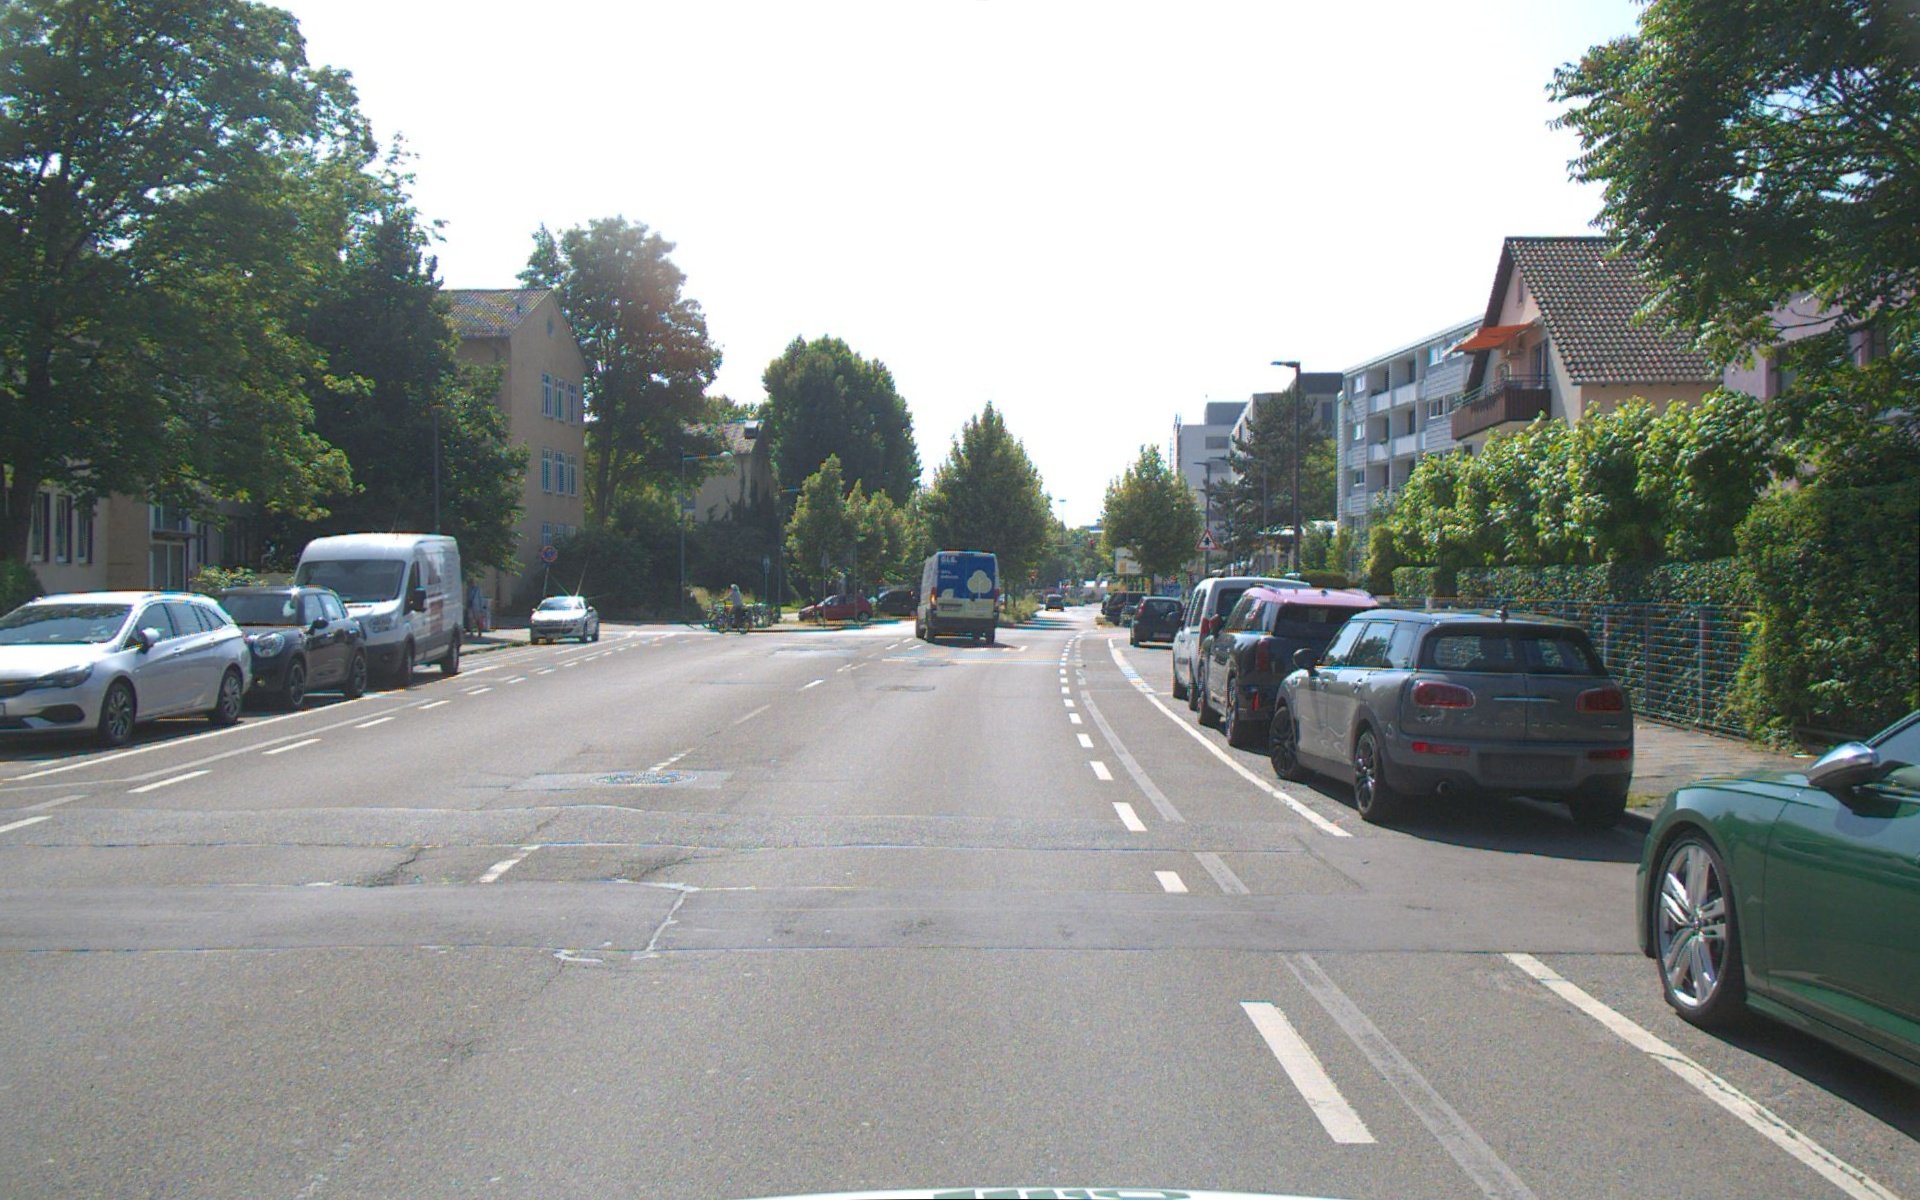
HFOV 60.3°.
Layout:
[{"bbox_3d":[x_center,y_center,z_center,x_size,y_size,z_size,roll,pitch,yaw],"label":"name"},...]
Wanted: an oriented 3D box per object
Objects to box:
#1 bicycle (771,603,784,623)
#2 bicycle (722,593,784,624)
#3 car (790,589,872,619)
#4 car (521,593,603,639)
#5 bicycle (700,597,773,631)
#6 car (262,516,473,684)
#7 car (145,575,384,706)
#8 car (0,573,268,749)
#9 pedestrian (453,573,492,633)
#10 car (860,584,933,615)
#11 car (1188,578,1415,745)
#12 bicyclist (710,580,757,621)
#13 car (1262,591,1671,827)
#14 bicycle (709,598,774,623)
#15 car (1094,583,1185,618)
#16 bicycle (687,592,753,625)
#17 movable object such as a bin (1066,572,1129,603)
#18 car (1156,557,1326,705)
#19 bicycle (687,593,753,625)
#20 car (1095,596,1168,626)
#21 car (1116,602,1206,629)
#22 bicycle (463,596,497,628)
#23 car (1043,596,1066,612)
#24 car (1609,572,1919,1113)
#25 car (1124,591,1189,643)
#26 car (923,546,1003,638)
[{"bbox_3d":[-8.619,0.613,78.149,0.510,0.919,1.270,-1,-1,0],"label":"bicycle"},{"bbox_3d":[-8.725,0.371,69.672,2.491,1.278,0.740,1,0,2],"label":"bicycle"},{"bbox_3d":[-6.694,0.188,85.720,3.923,1.492,1.991,-1,1,-17],"label":"car"},{"bbox_3d":[-11.939,0.454,49.844,1.686,1.289,3.998,-1,1,-3],"label":"car"},{"bbox_3d":[-7.817,0.480,57.920,2.498,1.132,0.958,0,1,32],"label":"bicycle"},{"bbox_3d":[-9.899,-0.031,28.172,2.049,2.540,5.944,-1,1,-7],"label":"car"},{"bbox_3d":[-9.217,0.474,22.270,1.686,1.586,3.998,-1,1,-3],"label":"car"},{"bbox_3d":[-8.948,0.533,17.279,1.686,1.586,4.669,-1,1,-3],"label":"car"},{"bbox_3d":[-15.004,0.095,50.948,0.953,1.811,0.725,1,0,1],"label":"pedestrian"},{"bbox_3d":[-3.924,-0.046,102.403,4.137,1.848,1.981,0,1,-34],"label":"car"},{"bbox_3d":[3.632,0.576,18.313,1.725,1.621,4.314,0,1,2],"label":"car"},{"bbox_3d":[-7.936,0.024,57.998,1.326,1.428,0.958,0,0,31],"label":"bicyclist"},{"bbox_3d":[3.618,0.682,12.609,1.727,1.469,4.067,-1,1,-2],"label":"car"},{"bbox_3d":[-8.914,0.427,67.518,2.491,1.005,0.740,-1,0,2],"label":"bicycle"},{"bbox_3d":[8.865,0.042,81.558,4.061,1.668,2.025,1,0,-29],"label":"car"},{"bbox_3d":[-9.459,0.344,65.212,2.491,1.278,0.740,-1,0,2],"label":"bicycle"},{"bbox_3d":[21.171,-1.909,254.814,9.470,4.629,3.166,1,0,6],"label":"movable object such as a bin"},{"bbox_3d":[3.943,0.426,23.908,1.726,1.858,4.599,3,-1,2],"label":"car"},{"bbox_3d":[-9.599,0.348,66.268,2.491,1.261,0.740,-1,0,2],"label":"bicycle"},{"bbox_3d":[9.932,0.619,95.768,3.912,1.668,1.750,1,0,-8],"label":"car"},{"bbox_3d":[9.560,0.725,78.732,3.930,1.258,1.742,1,0,-22],"label":"car"},{"bbox_3d":[-16.731,0.413,57.625,0.375,1.100,1.688,0,1,-44],"label":"bicycle"},{"bbox_3d":[8.728,0.376,153.106,1.952,1.422,4.001,1,0,1],"label":"car"},{"bbox_3d":[3.557,0.717,4.386,1.775,1.488,4.788,3,1,1],"label":"car"},{"bbox_3d":[5.794,0.493,49.113,1.583,1.414,4.001,2,0,2],"label":"car"},{"bbox_3d":[0.090,-0.230,49.786,2.229,2.568,6.135,-1,0,0],"label":"car"}]
